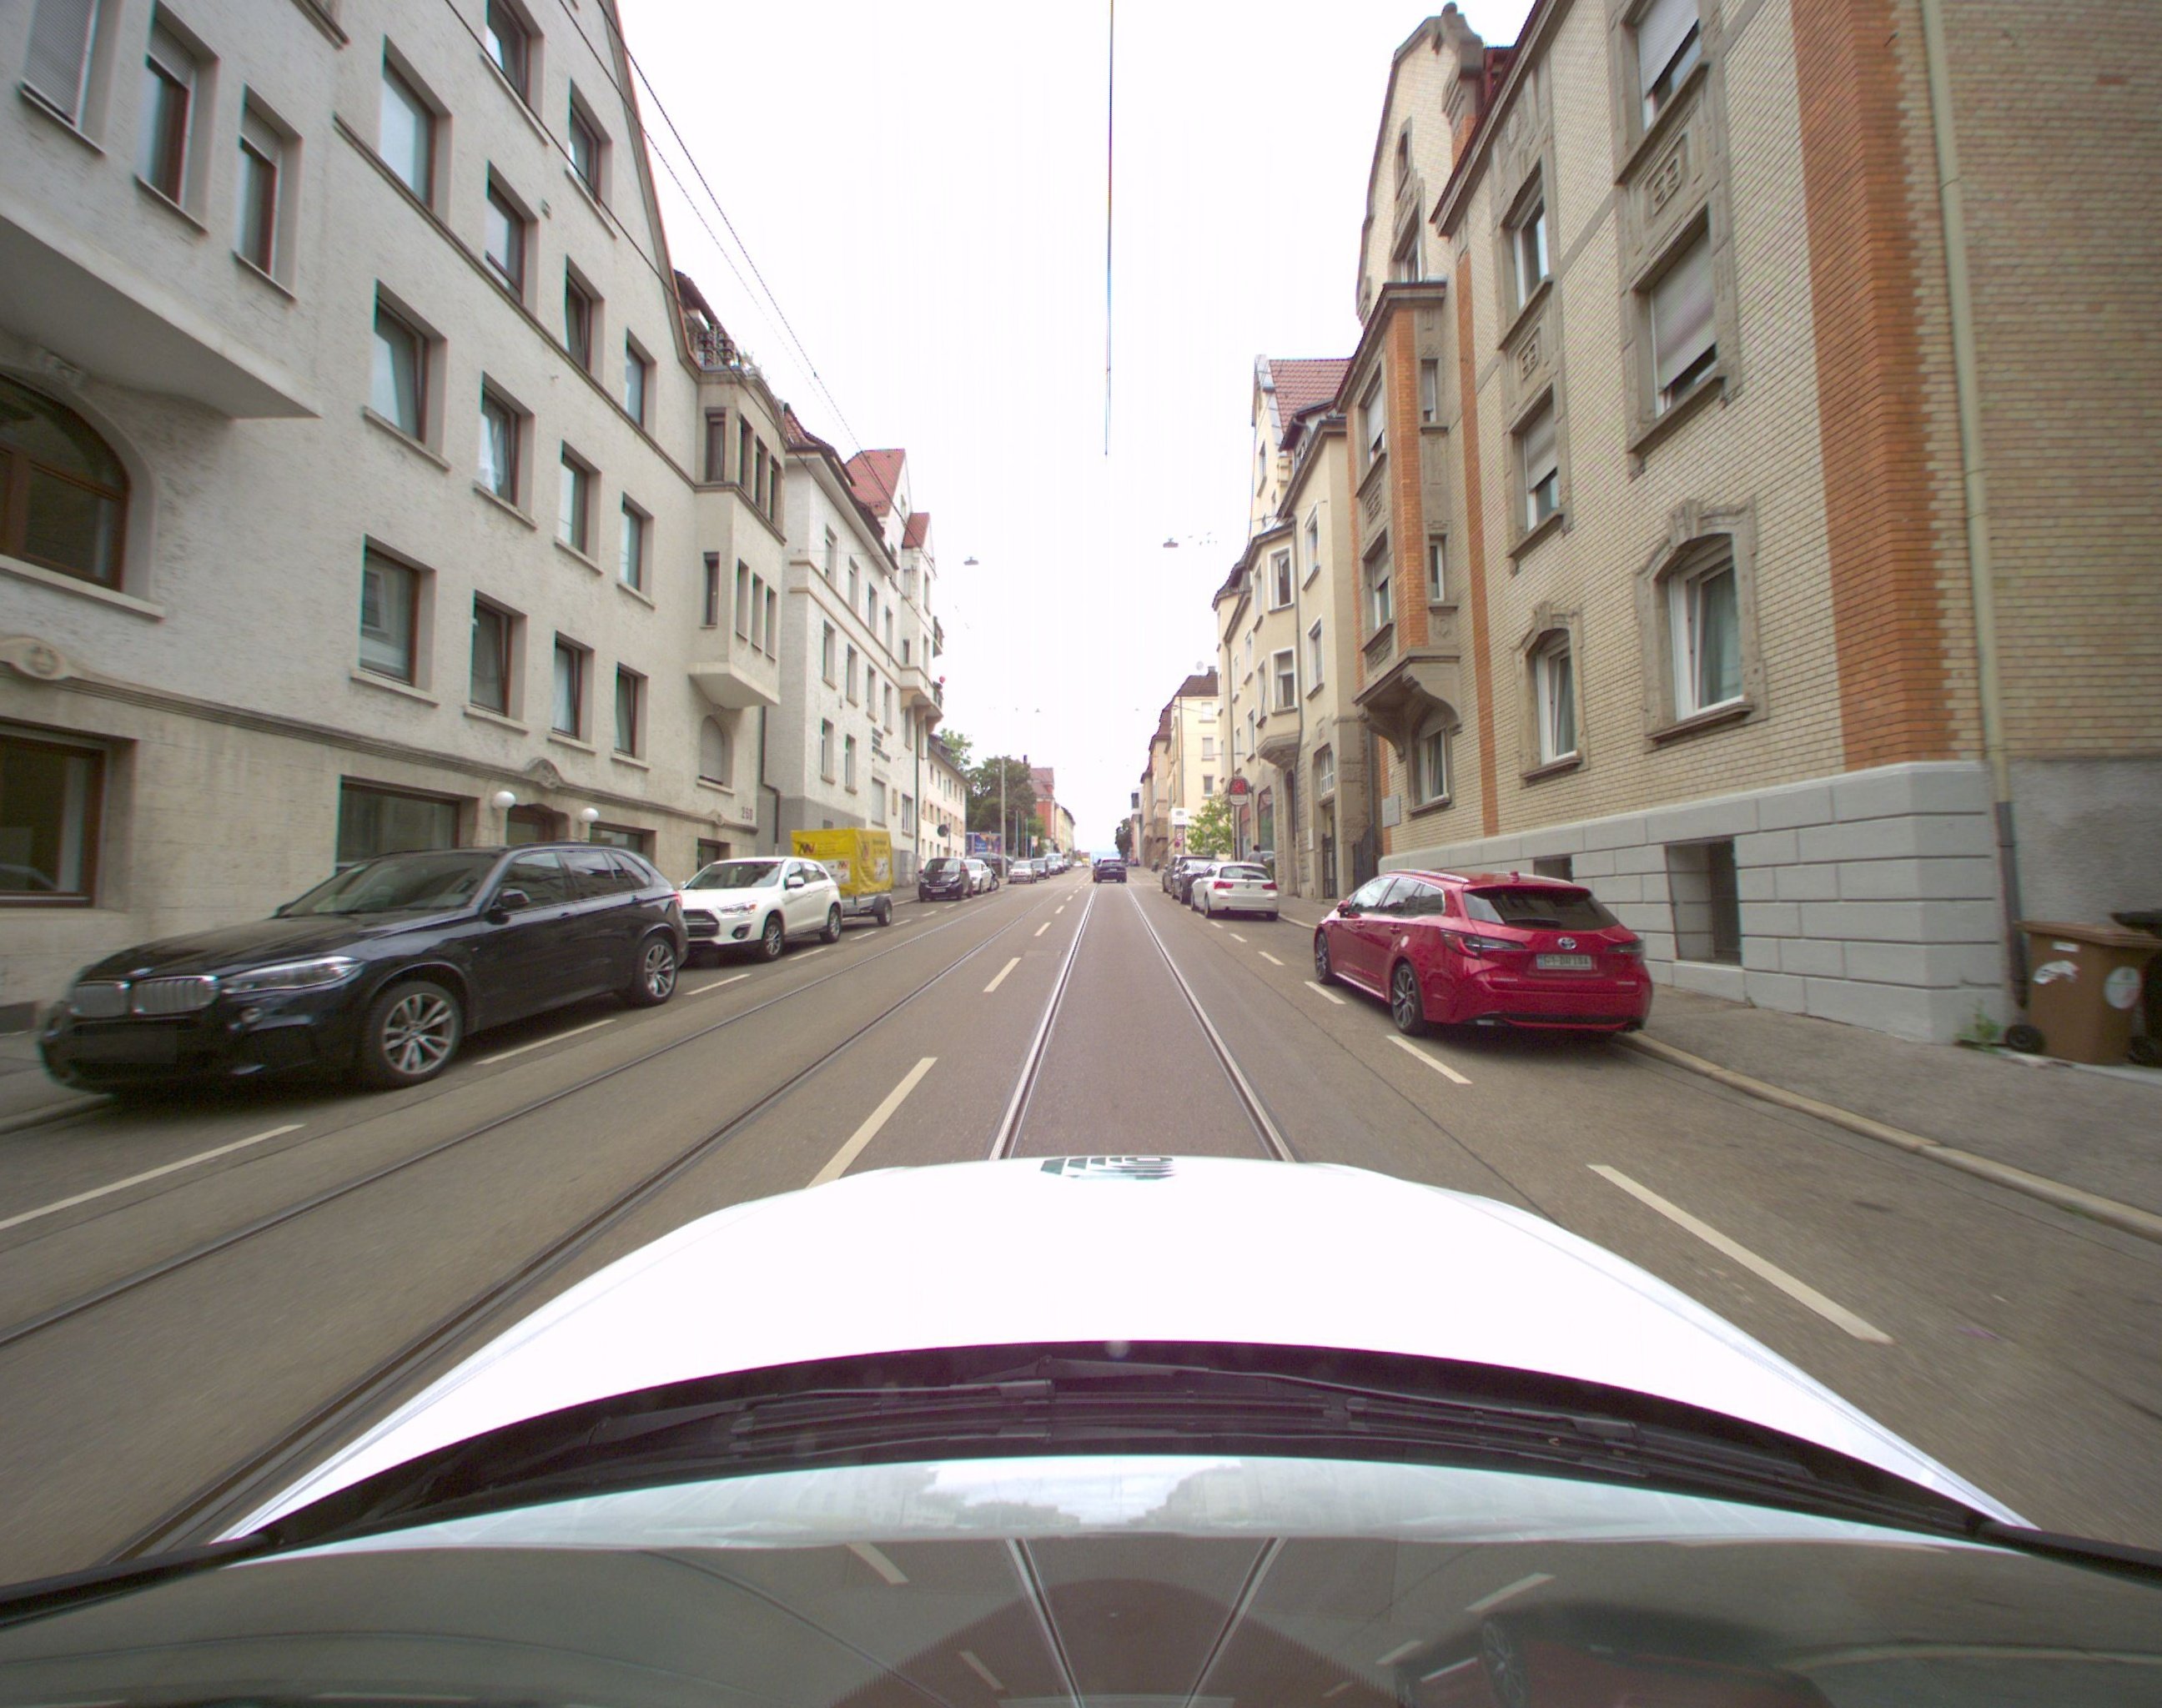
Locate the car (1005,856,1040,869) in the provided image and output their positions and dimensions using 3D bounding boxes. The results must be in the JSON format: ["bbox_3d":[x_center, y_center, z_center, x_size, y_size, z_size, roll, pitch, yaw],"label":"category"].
[{"bbox_3d":[-6.985,0.975,97.175,3.964,1.551,1.680,0,0,-13],"label":"car"}]

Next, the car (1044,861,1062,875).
[{"bbox_3d":[-2.907,1.462,86.108,1.691,1.433,4.481,-3,0,0],"label":"car"}]

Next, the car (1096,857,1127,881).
[{"bbox_3d":[2.082,0.999,55.318,1.986,1.563,4.292,-1,0,2],"label":"car"}]

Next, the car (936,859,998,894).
[{"bbox_3d":[-4.706,0.906,34.158,1.772,1.357,4.295,-1,0,3],"label":"car"}]

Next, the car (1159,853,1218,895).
[{"bbox_3d":[4.266,0.755,32.876,1.729,1.537,4.573,1,0,0],"label":"car"}]

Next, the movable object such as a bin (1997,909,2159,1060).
[{"bbox_3d":[6.775,0.864,5.557,0.446,0.940,0.540,3,-3,1],"label":"movable object such as a bin"}]

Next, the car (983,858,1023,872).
[{"bbox_3d":[-8.205,1.144,86.304,4.046,1.445,1.688,0,0,1],"label":"car"}]

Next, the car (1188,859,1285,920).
[{"bbox_3d":[3.956,0.848,21.406,1.744,1.390,4.308,1,0,1],"label":"car"}]

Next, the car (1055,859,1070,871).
[{"bbox_3d":[-2.389,1.439,108.174,1.705,1.446,4.292,-1,0,2],"label":"car"}]

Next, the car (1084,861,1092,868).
[{"bbox_3d":[1.669,2.466,193.931,1.848,1.607,4.298,-1,0,2],"label":"car"}]

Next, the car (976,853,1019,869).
[{"bbox_3d":[-8.376,0.677,81.594,4.046,1.552,1.688,1,0,1],"label":"car"}]

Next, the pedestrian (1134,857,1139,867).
[{"bbox_3d":[9.353,1.337,137.815,0.788,1.667,0.799,-1,-1,4],"label":"pedestrian"}]

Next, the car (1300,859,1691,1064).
[{"bbox_3d":[3.693,0.807,8.341,1.773,1.475,4.591,1,0,2],"label":"car"}]

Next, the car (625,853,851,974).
[{"bbox_3d":[-5.349,0.820,13.406,1.690,1.593,4.271,-3,0,2],"label":"car"}]

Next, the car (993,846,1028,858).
[{"bbox_3d":[-8.097,-0.265,93.787,3.862,1.357,1.688,0,0,1],"label":"car"}]

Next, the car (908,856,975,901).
[{"bbox_3d":[-4.925,0.838,29.035,1.690,1.468,3.025,-3,-1,2],"label":"car"}]

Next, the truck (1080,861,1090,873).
[{"bbox_3d":[1.058,3.317,213.879,2.294,3.037,9.036,0,-1,2],"label":"truck"}]

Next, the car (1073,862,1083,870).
[{"bbox_3d":[-0.647,2.308,161.272,1.848,1.607,4.298,-1,0,2],"label":"car"}]

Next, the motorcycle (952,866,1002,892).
[{"bbox_3d":[-4.769,1.139,37.373,2.093,1.134,0.769,-2,0,15],"label":"motorcycle"}]

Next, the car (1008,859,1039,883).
[{"bbox_3d":[-3.998,1.167,56.942,1.689,1.556,3.853,-1,0,3],"label":"car"}]

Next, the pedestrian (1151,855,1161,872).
[{"bbox_3d":[7.427,0.915,80.564,0.867,1.686,0.663,-2,-1,0],"label":"pedestrian"}]

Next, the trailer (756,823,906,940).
[{"bbox_3d":[-5.211,0.519,17.582,1.742,2.155,4.073,-3,0,2],"label":"trailer"}]

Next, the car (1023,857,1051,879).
[{"bbox_3d":[-3.653,1.152,67.953,1.736,1.736,4.523,-3,0,3],"label":"car"}]

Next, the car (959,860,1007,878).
[{"bbox_3d":[-9.400,1.452,78.440,4.323,1.345,1.861,-5,-1,1],"label":"car"}]

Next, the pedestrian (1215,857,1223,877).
[{"bbox_3d":[11.013,1.029,64.826,0.556,1.582,0.686,0,-1,2],"label":"pedestrian"}]

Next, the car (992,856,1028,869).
[{"bbox_3d":[-7.902,0.960,91.099,3.862,1.357,1.688,0,0,1],"label":"car"}]

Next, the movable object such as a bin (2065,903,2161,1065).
[{"bbox_3d":[7.234,0.861,5.426,0.459,1.035,0.752,3,-3,2],"label":"movable object such as a bin"}]

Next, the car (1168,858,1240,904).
[{"bbox_3d":[4.049,0.847,27.522,1.774,1.390,4.692,1,0,1],"label":"car"}]

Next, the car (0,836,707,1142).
[{"bbox_3d":[-5.432,0.767,7.076,1.866,1.664,4.894,-3,0,2],"label":"car"}]

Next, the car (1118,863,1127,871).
[{"bbox_3d":[9.175,2.816,179.270,1.986,1.563,4.292,-1,0,2],"label":"car"}]

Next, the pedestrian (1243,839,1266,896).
[{"bbox_3d":[5.578,0.440,26.161,0.597,1.803,0.632,0,-1,1],"label":"pedestrian"}]

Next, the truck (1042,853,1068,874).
[{"bbox_3d":[-2.903,1.070,93.066,2.271,2.188,8.030,-1,0,3],"label":"truck"}]

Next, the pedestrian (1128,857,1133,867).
[{"bbox_3d":[8.409,1.350,137.910,0.788,1.667,0.799,-1,-1,4],"label":"pedestrian"}]
